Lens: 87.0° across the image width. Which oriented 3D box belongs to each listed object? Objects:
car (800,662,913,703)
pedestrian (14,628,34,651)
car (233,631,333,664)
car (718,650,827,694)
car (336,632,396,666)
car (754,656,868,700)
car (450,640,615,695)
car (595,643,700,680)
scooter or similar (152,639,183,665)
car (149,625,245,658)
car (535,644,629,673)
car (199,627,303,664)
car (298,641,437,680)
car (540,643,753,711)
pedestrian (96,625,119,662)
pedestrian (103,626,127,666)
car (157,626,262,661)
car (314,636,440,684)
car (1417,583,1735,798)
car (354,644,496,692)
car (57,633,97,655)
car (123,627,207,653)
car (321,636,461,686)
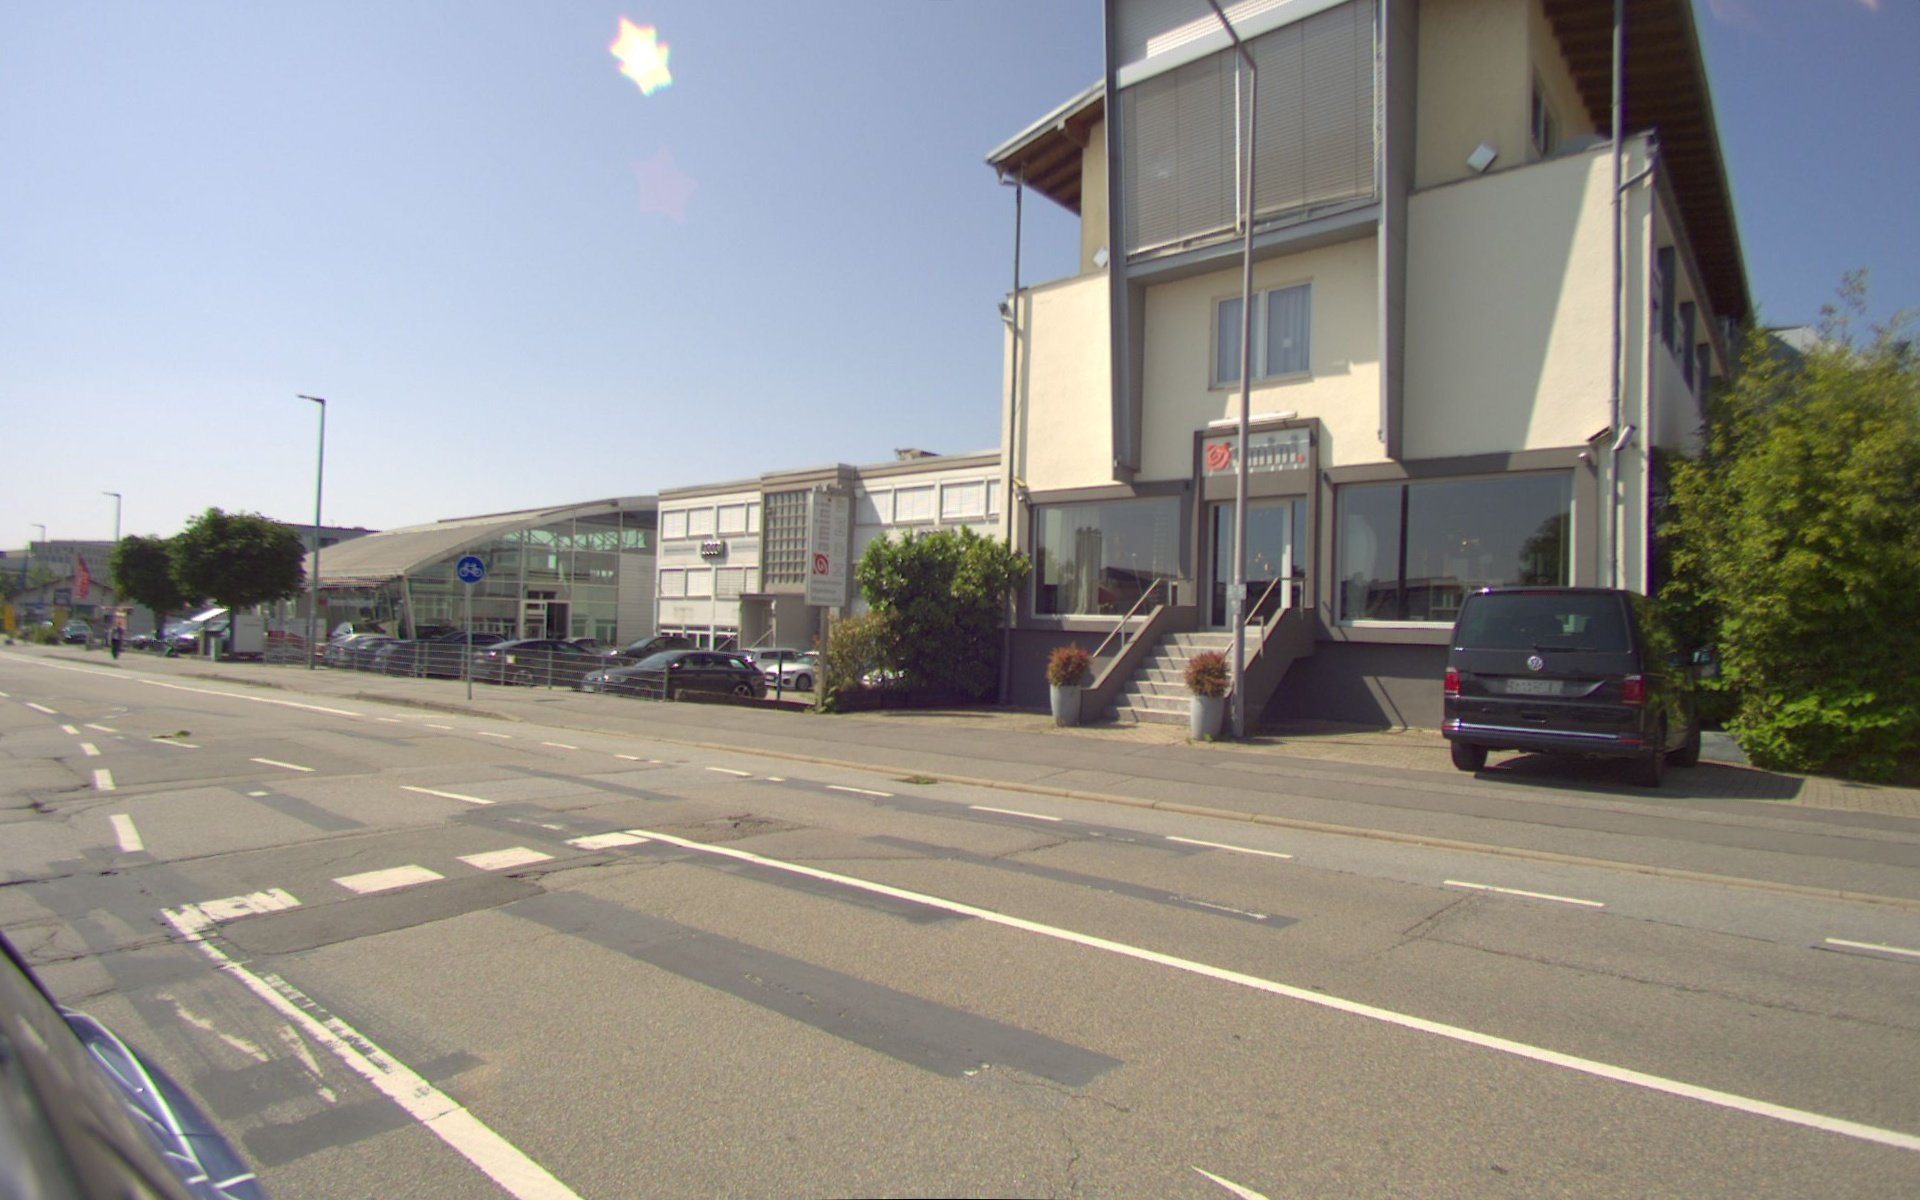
[{"bbox_3d":[-3.706,2.941,36.712,1.857,1.274,3.947,-2,-3,39],"label":"car"},{"bbox_3d":[-70.967,3.012,76.744,0.981,1.698,0.801,3,-3,-38],"label":"pedestrian"},{"bbox_3d":[-33.204,2.306,49.785,1.839,1.562,3.987,-1,-2,10],"label":"car"},{"bbox_3d":[-7.308,2.783,39.744,1.857,1.557,3.947,-2,-3,39],"label":"car"},{"bbox_3d":[-30.538,2.494,51.955,1.969,1.697,4.006,2,-3,-40],"label":"car"},{"bbox_3d":[-5.549,2.885,37.959,1.817,1.413,3.942,1,-1,44],"label":"car"},{"bbox_3d":[-13.060,2.031,31.137,1.992,1.570,4.256,-2,-3,37],"label":"car"},{"bbox_3d":[-14.265,2.793,46.425,1.857,1.565,4.312,-2,-3,38],"label":"car"},{"bbox_3d":[-38.883,2.521,49.667,1.486,1.257,0.737,-1,-3,33],"label":"scooter or similar"},{"bbox_3d":[-41.836,2.242,55.620,1.851,1.506,4.197,0,2,5],"label":"car"},{"bbox_3d":[-18.615,2.863,49.981,1.858,1.370,3.945,-2,-3,41],"label":"car"},{"bbox_3d":[-35.999,2.270,51.523,1.887,1.721,4.473,-1,-1,5],"label":"car"},{"bbox_3d":[-23.960,2.429,41.077,1.898,1.469,4.479,-2,-3,39],"label":"car"},{"bbox_3d":[-7.654,1.843,25.104,2.046,1.492,4.691,-2,-3,39],"label":"car"},{"bbox_3d":[-44.118,2.261,52.355,0.911,1.862,0.715,-2,-4,40],"label":"pedestrian"},{"bbox_3d":[-40.536,2.221,48.557,1.047,1.882,0.724,-2,-4,44],"label":"pedestrian"},{"bbox_3d":[-39.273,2.257,53.077,1.836,1.709,4.572,-1,-2,5],"label":"car"},{"bbox_3d":[-22.466,2.271,39.085,1.823,1.455,3.849,2,3,42],"label":"car"},{"bbox_3d":[6.993,0.865,11.264,2.093,1.880,4.515,-2,-3,43],"label":"car"},{"bbox_3d":[-18.704,2.345,35.489,1.856,1.501,3.949,1,-2,37],"label":"car"},{"bbox_3d":[-69.277,3.449,79.382,4.000,1.728,1.884,-2,-4,43],"label":"car"},{"bbox_3d":[-47.366,2.370,60.391,1.880,1.470,4.162,0,-1,-2],"label":"car"},{"bbox_3d":[-20.765,2.254,37.053,1.857,1.454,3.949,-1,-9,38],"label":"car"}]
